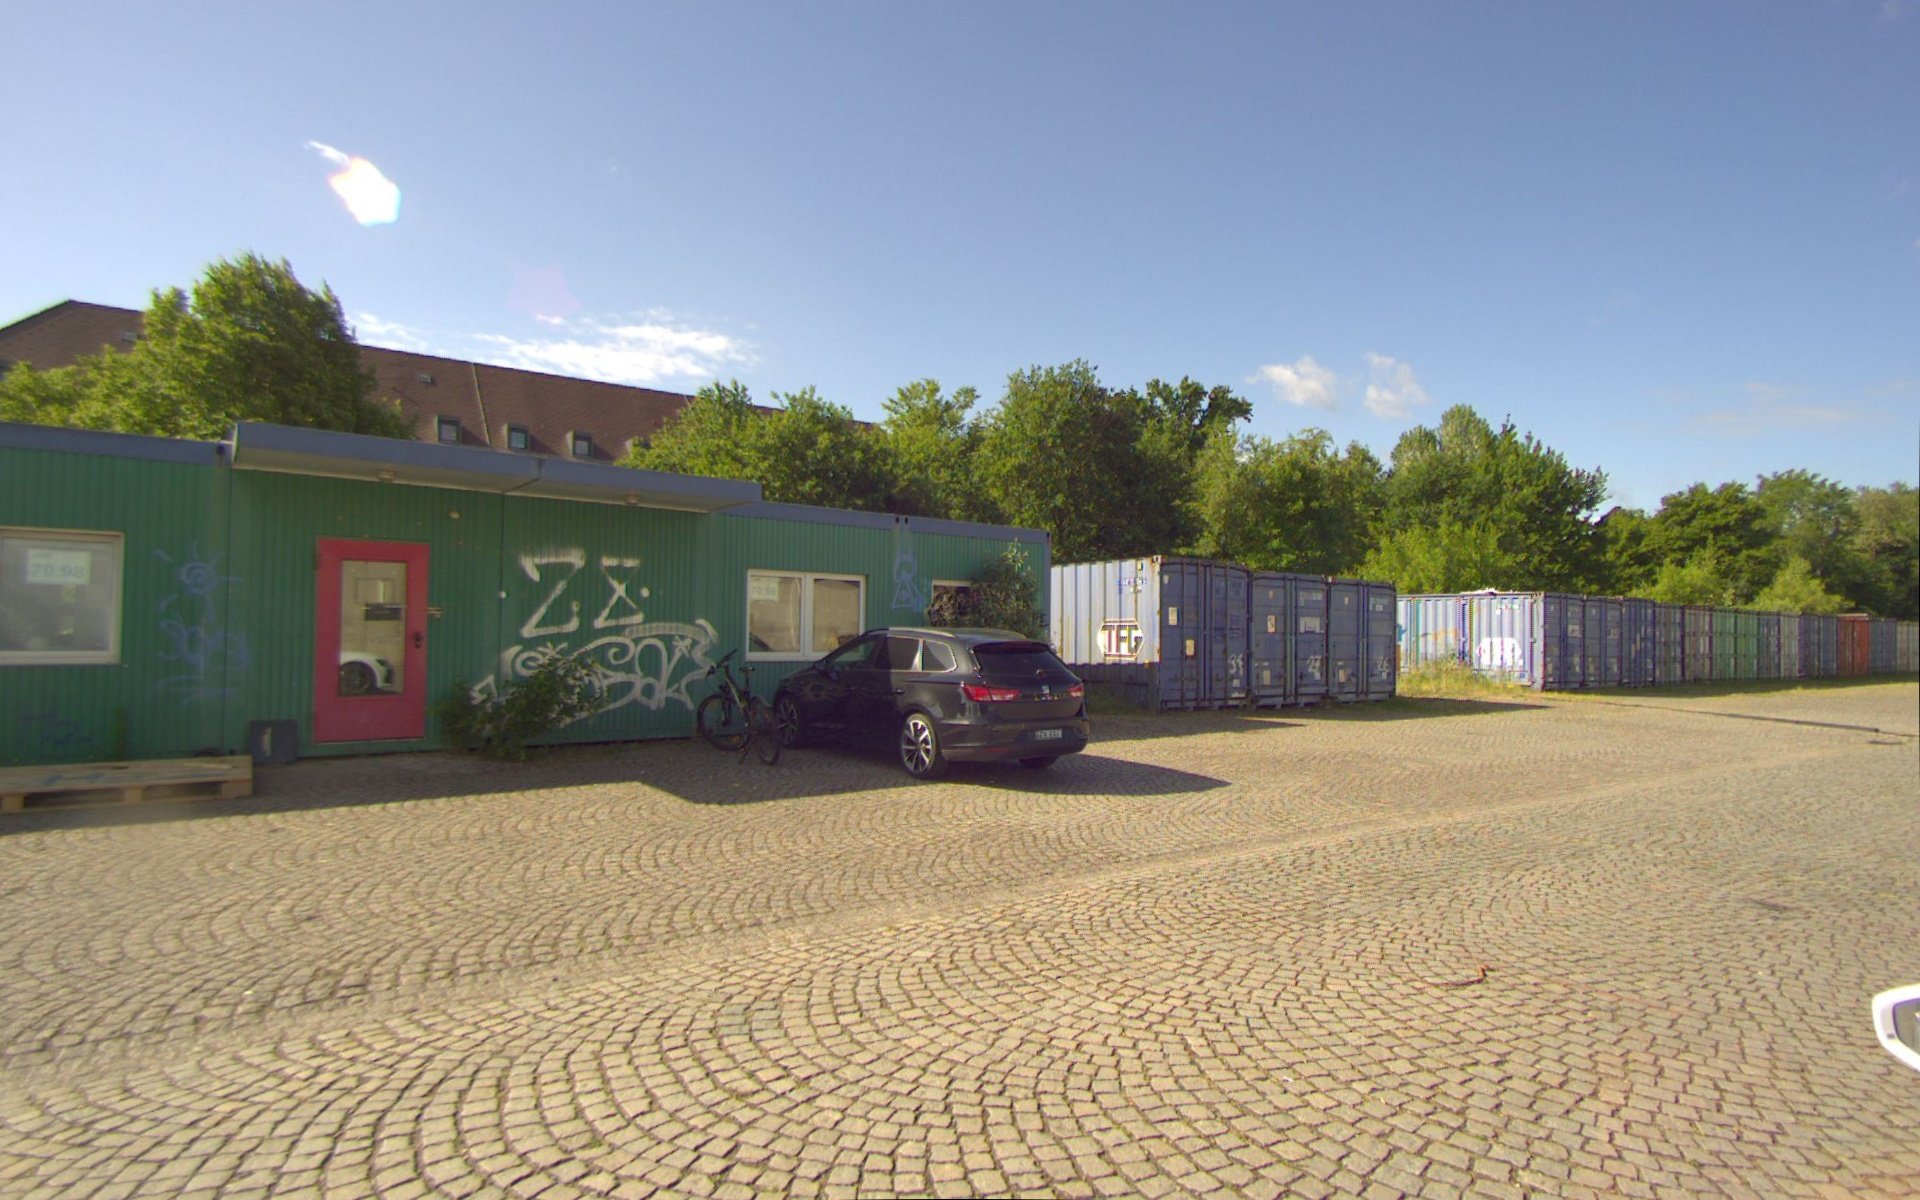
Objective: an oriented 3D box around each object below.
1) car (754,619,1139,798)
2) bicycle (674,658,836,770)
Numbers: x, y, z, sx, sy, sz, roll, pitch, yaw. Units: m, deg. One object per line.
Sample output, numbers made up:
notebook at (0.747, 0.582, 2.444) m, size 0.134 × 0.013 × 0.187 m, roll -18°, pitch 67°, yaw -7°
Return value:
car at (-0.357, 0.991, 11.009) m, size 1.982 × 1.484 × 4.381 m, roll 2°, pitch -1°, yaw -38°
bicycle at (-2.253, 1.180, 10.880) m, size 1.029 × 1.041 × 1.861 m, roll 2°, pitch -2°, yaw -37°
